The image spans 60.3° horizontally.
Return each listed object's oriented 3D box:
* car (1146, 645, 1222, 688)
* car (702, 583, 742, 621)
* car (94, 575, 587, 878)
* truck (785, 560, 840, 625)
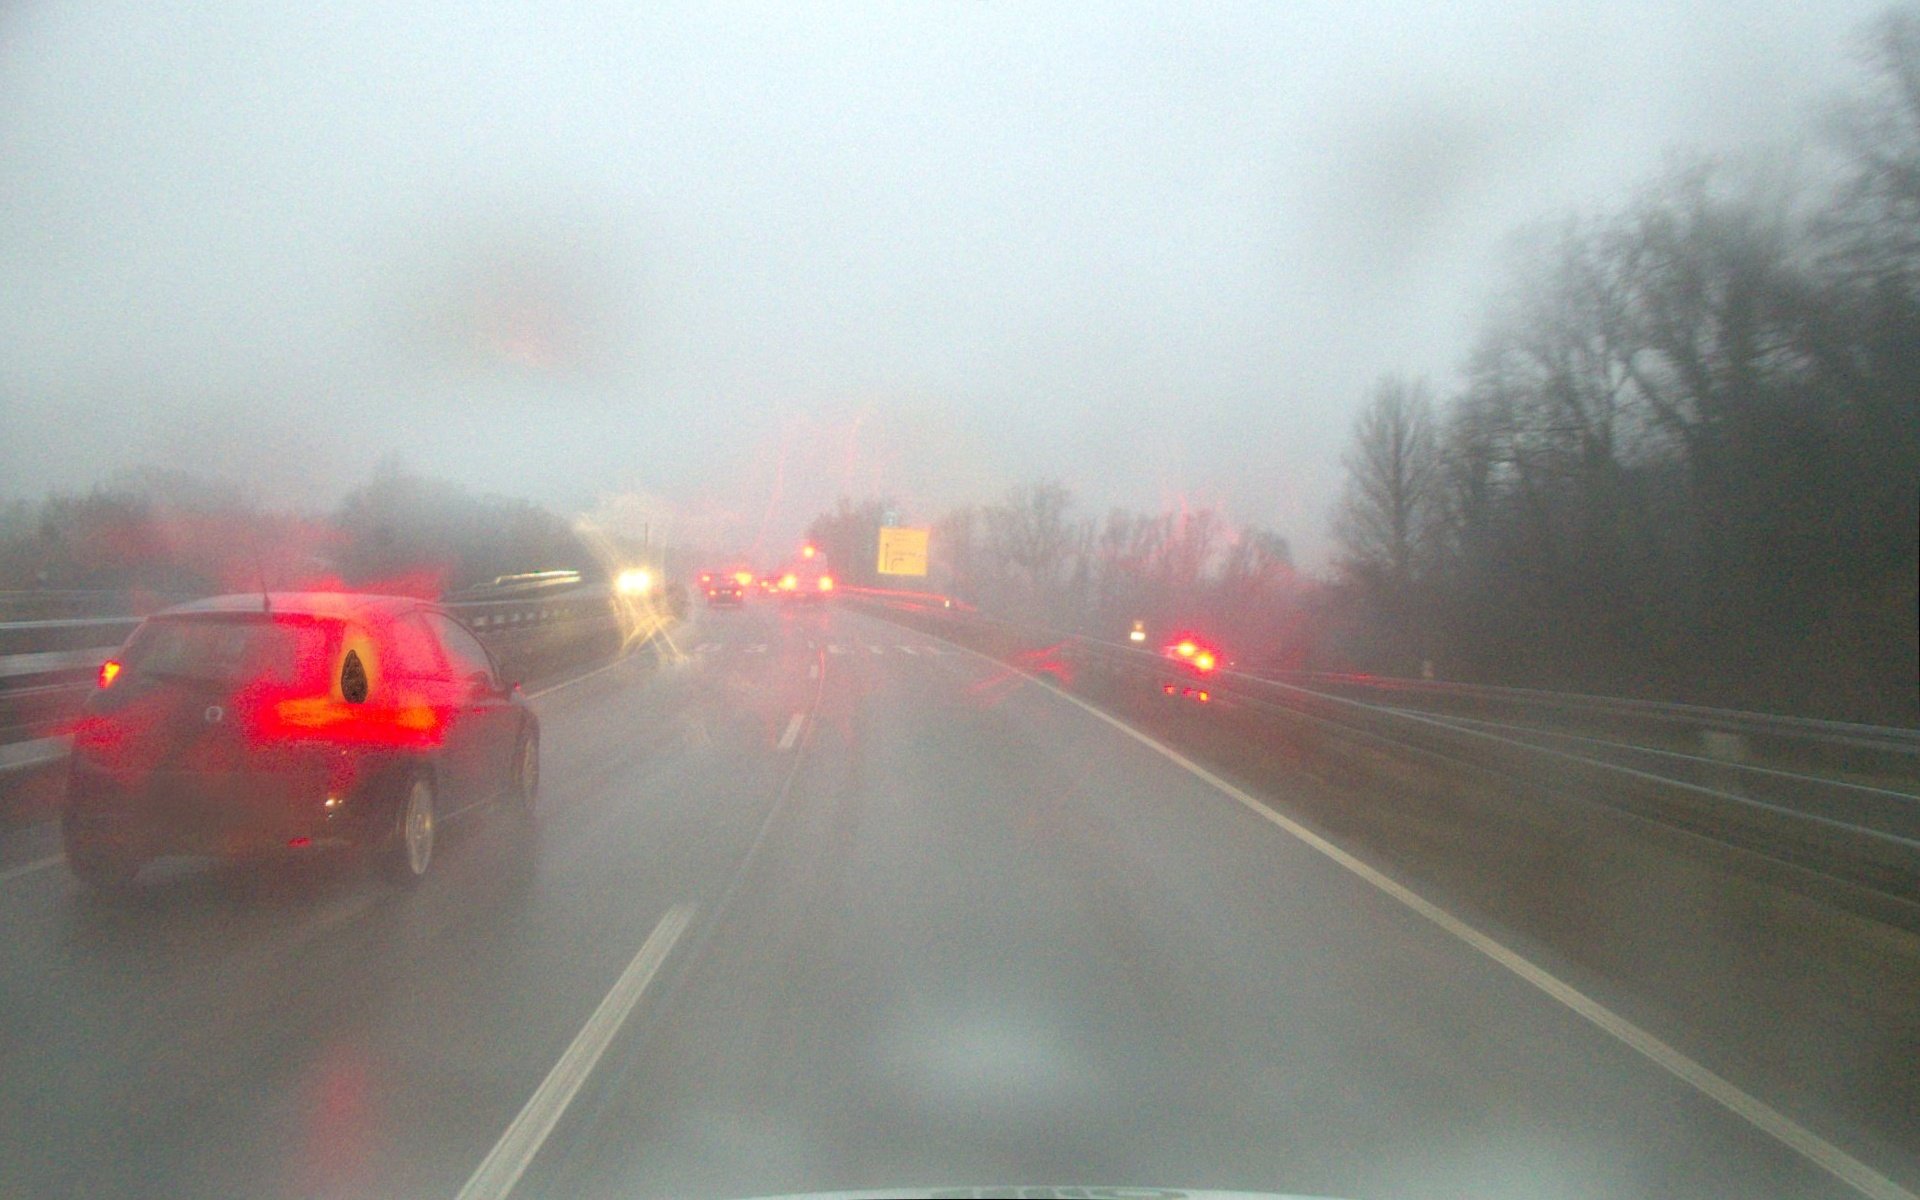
[{"bbox_3d":[8.511,2.514,63.134,1.646,1.303,3.991,8,-2,-9],"label":"car"},{"bbox_3d":[-11.619,0.115,80.697,1.801,1.564,3.990,3,-3,-9],"label":"car"},{"bbox_3d":[-3.450,0.620,10.022,1.593,1.416,3.998,2,0,-3],"label":"car"},{"bbox_3d":[-7.360,-0.322,82.176,2.339,2.960,4.663,2,-3,-9],"label":"truck"}]
